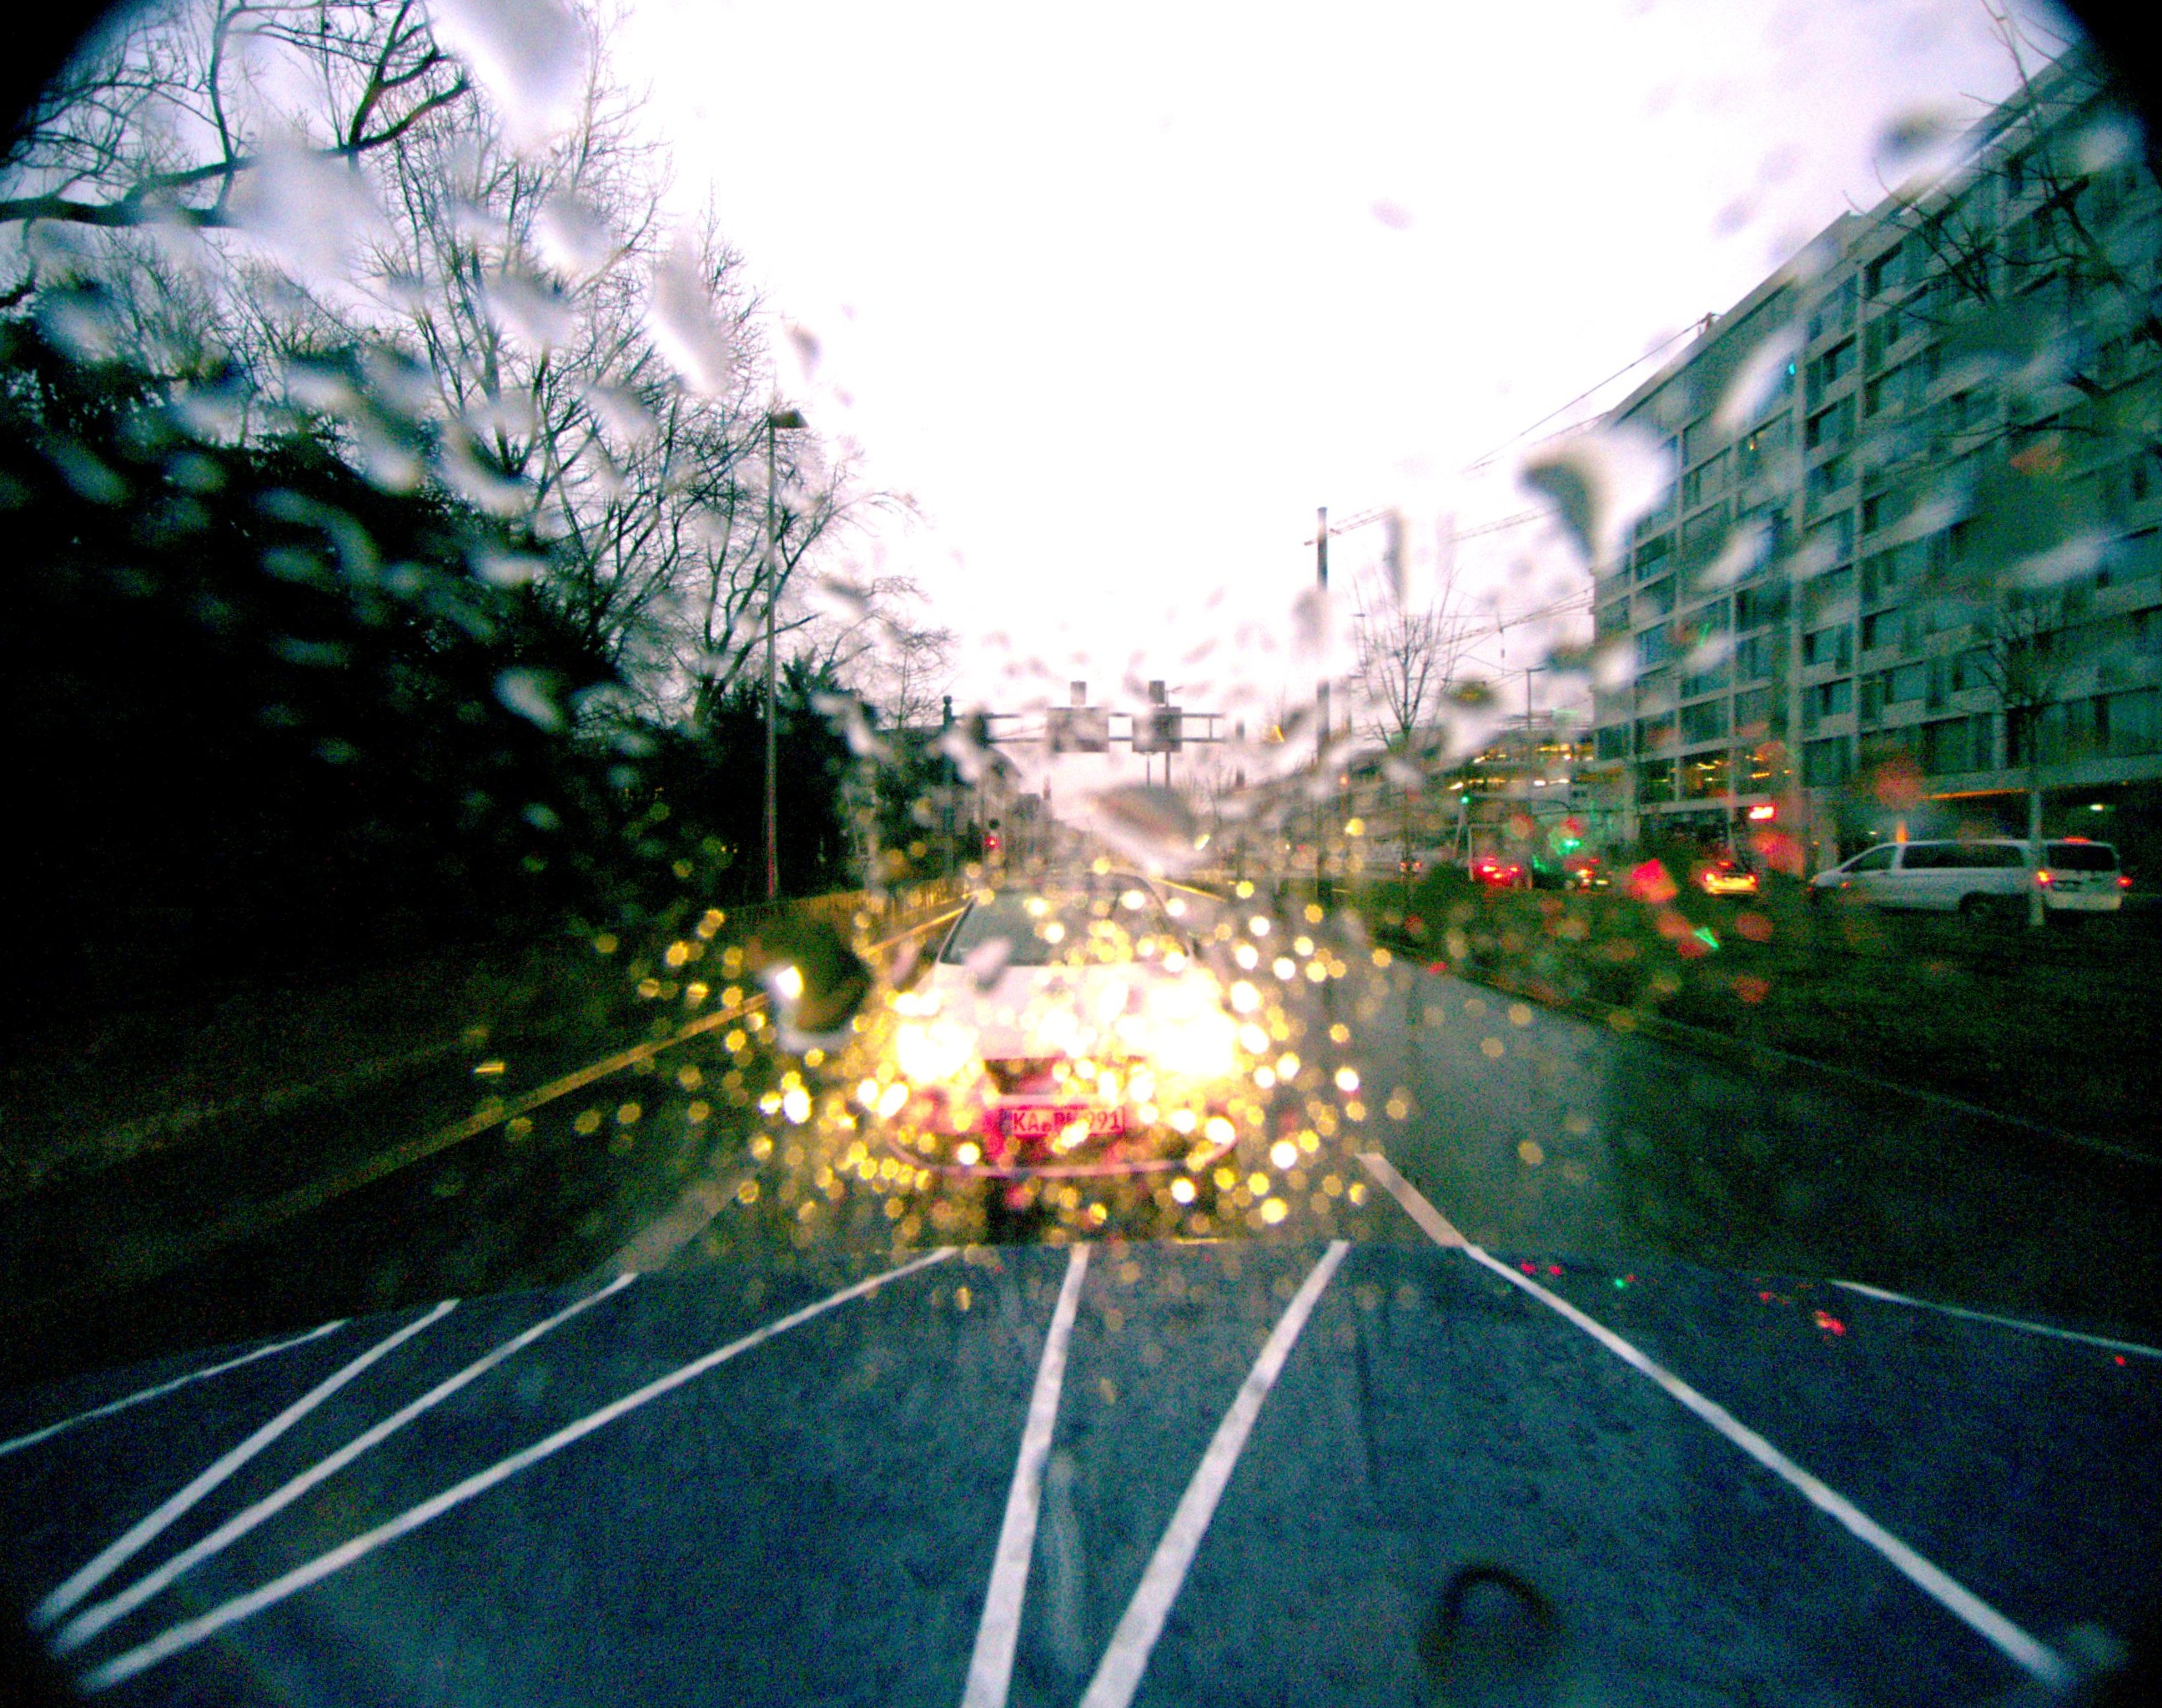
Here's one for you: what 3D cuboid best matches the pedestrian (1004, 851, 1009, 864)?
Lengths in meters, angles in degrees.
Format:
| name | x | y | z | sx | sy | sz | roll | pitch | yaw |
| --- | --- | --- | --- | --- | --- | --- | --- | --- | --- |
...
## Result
| name | x | y | z | sx | sy | sz | roll | pitch | yaw |
| --- | --- | --- | --- | --- | --- | --- | --- | --- | --- |
| pedestrian | -8.952 | 0.439 | 91.260 | 0.521 | 1.501 | 0.588 | 0 | 1 | 1 |

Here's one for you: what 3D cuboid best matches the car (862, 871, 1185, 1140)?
| name | x | y | z | sx | sy | sz | roll | pitch | yaw |
| --- | --- | --- | --- | --- | --- | --- | --- | --- | --- |
| car | -0.327 | 0.912 | 6.319 | 1.798 | 1.363 | 3.981 | -2 | 1 | 0 |

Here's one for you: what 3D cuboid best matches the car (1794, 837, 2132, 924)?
| name | x | y | z | sx | sy | sz | roll | pitch | yaw |
| --- | --- | --- | --- | --- | --- | --- | --- | --- | --- |
| car | 19.879 | 0.518 | 17.610 | 1.901 | 1.709 | 5.118 | 0 | 0 | 0 |

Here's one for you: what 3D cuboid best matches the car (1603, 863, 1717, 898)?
| name | x | y | z | sx | sy | sz | roll | pitch | yaw |
| --- | --- | --- | --- | --- | --- | --- | --- | --- | --- |
| car | 27.938 | 1.231 | 36.906 | 1.900 | 1.507 | 4.792 | 0 | 0 | 1 |

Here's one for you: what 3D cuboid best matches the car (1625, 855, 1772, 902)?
| name | x | y | z | sx | sy | sz | roll | pitch | yaw |
| --- | --- | --- | --- | --- | --- | --- | --- | --- | --- |
| car | 20.361 | 0.763 | 25.279 | 1.901 | 1.423 | 3.706 | 0 | 0 | 0 |

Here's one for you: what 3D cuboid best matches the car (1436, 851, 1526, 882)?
| name | x | y | z | sx | sy | sz | roll | pitch | yaw |
| --- | --- | --- | --- | --- | --- | --- | --- | --- | --- |
| car | 20.215 | 0.608 | 38.678 | 1.998 | 1.459 | 5.034 | 0 | 0 | 1 |

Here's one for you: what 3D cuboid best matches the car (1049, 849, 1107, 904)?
| name | x | y | z | sx | sy | sz | roll | pitch | yaw |
| --- | --- | --- | --- | --- | --- | --- | --- | --- | --- |
| car | -0.109 | 0.695 | 25.878 | 1.781 | 1.666 | 3.981 | -2 | 1 | 0 |

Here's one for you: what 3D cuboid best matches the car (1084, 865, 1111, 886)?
| name | x | y | z | sx | sy | sz | roll | pitch | yaw |
| --- | --- | --- | --- | --- | --- | --- | --- | --- | --- |
| car | 1.180 | 1.525 | 55.595 | 1.767 | 1.363 | 3.980 | -2 | 1 | -1 |

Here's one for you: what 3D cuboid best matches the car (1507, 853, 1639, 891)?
| name | x | y | z | sx | sy | sz | roll | pitch | yaw |
| --- | --- | --- | --- | --- | --- | --- | --- | --- | --- |
| car | 20.500 | 0.695 | 31.912 | 2.001 | 1.488 | 4.444 | 0 | 0 | -15 |

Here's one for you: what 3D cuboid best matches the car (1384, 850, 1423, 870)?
| name | x | y | z | sx | sy | sz | roll | pitch | yaw |
| --- | --- | --- | --- | --- | --- | --- | --- | --- | --- |
| car | 29.377 | 0.548 | 69.387 | 1.900 | 1.709 | 4.918 | 0 | 0 | 5 |

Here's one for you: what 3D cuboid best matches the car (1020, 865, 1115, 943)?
| name | x | y | z | sx | sy | sz | roll | pitch | yaw |
| --- | --- | --- | --- | --- | --- | --- | --- | --- | --- |
| car | -0.253 | 0.971 | 16.169 | 1.728 | 1.318 | 3.981 | -2 | 1 | 0 |
